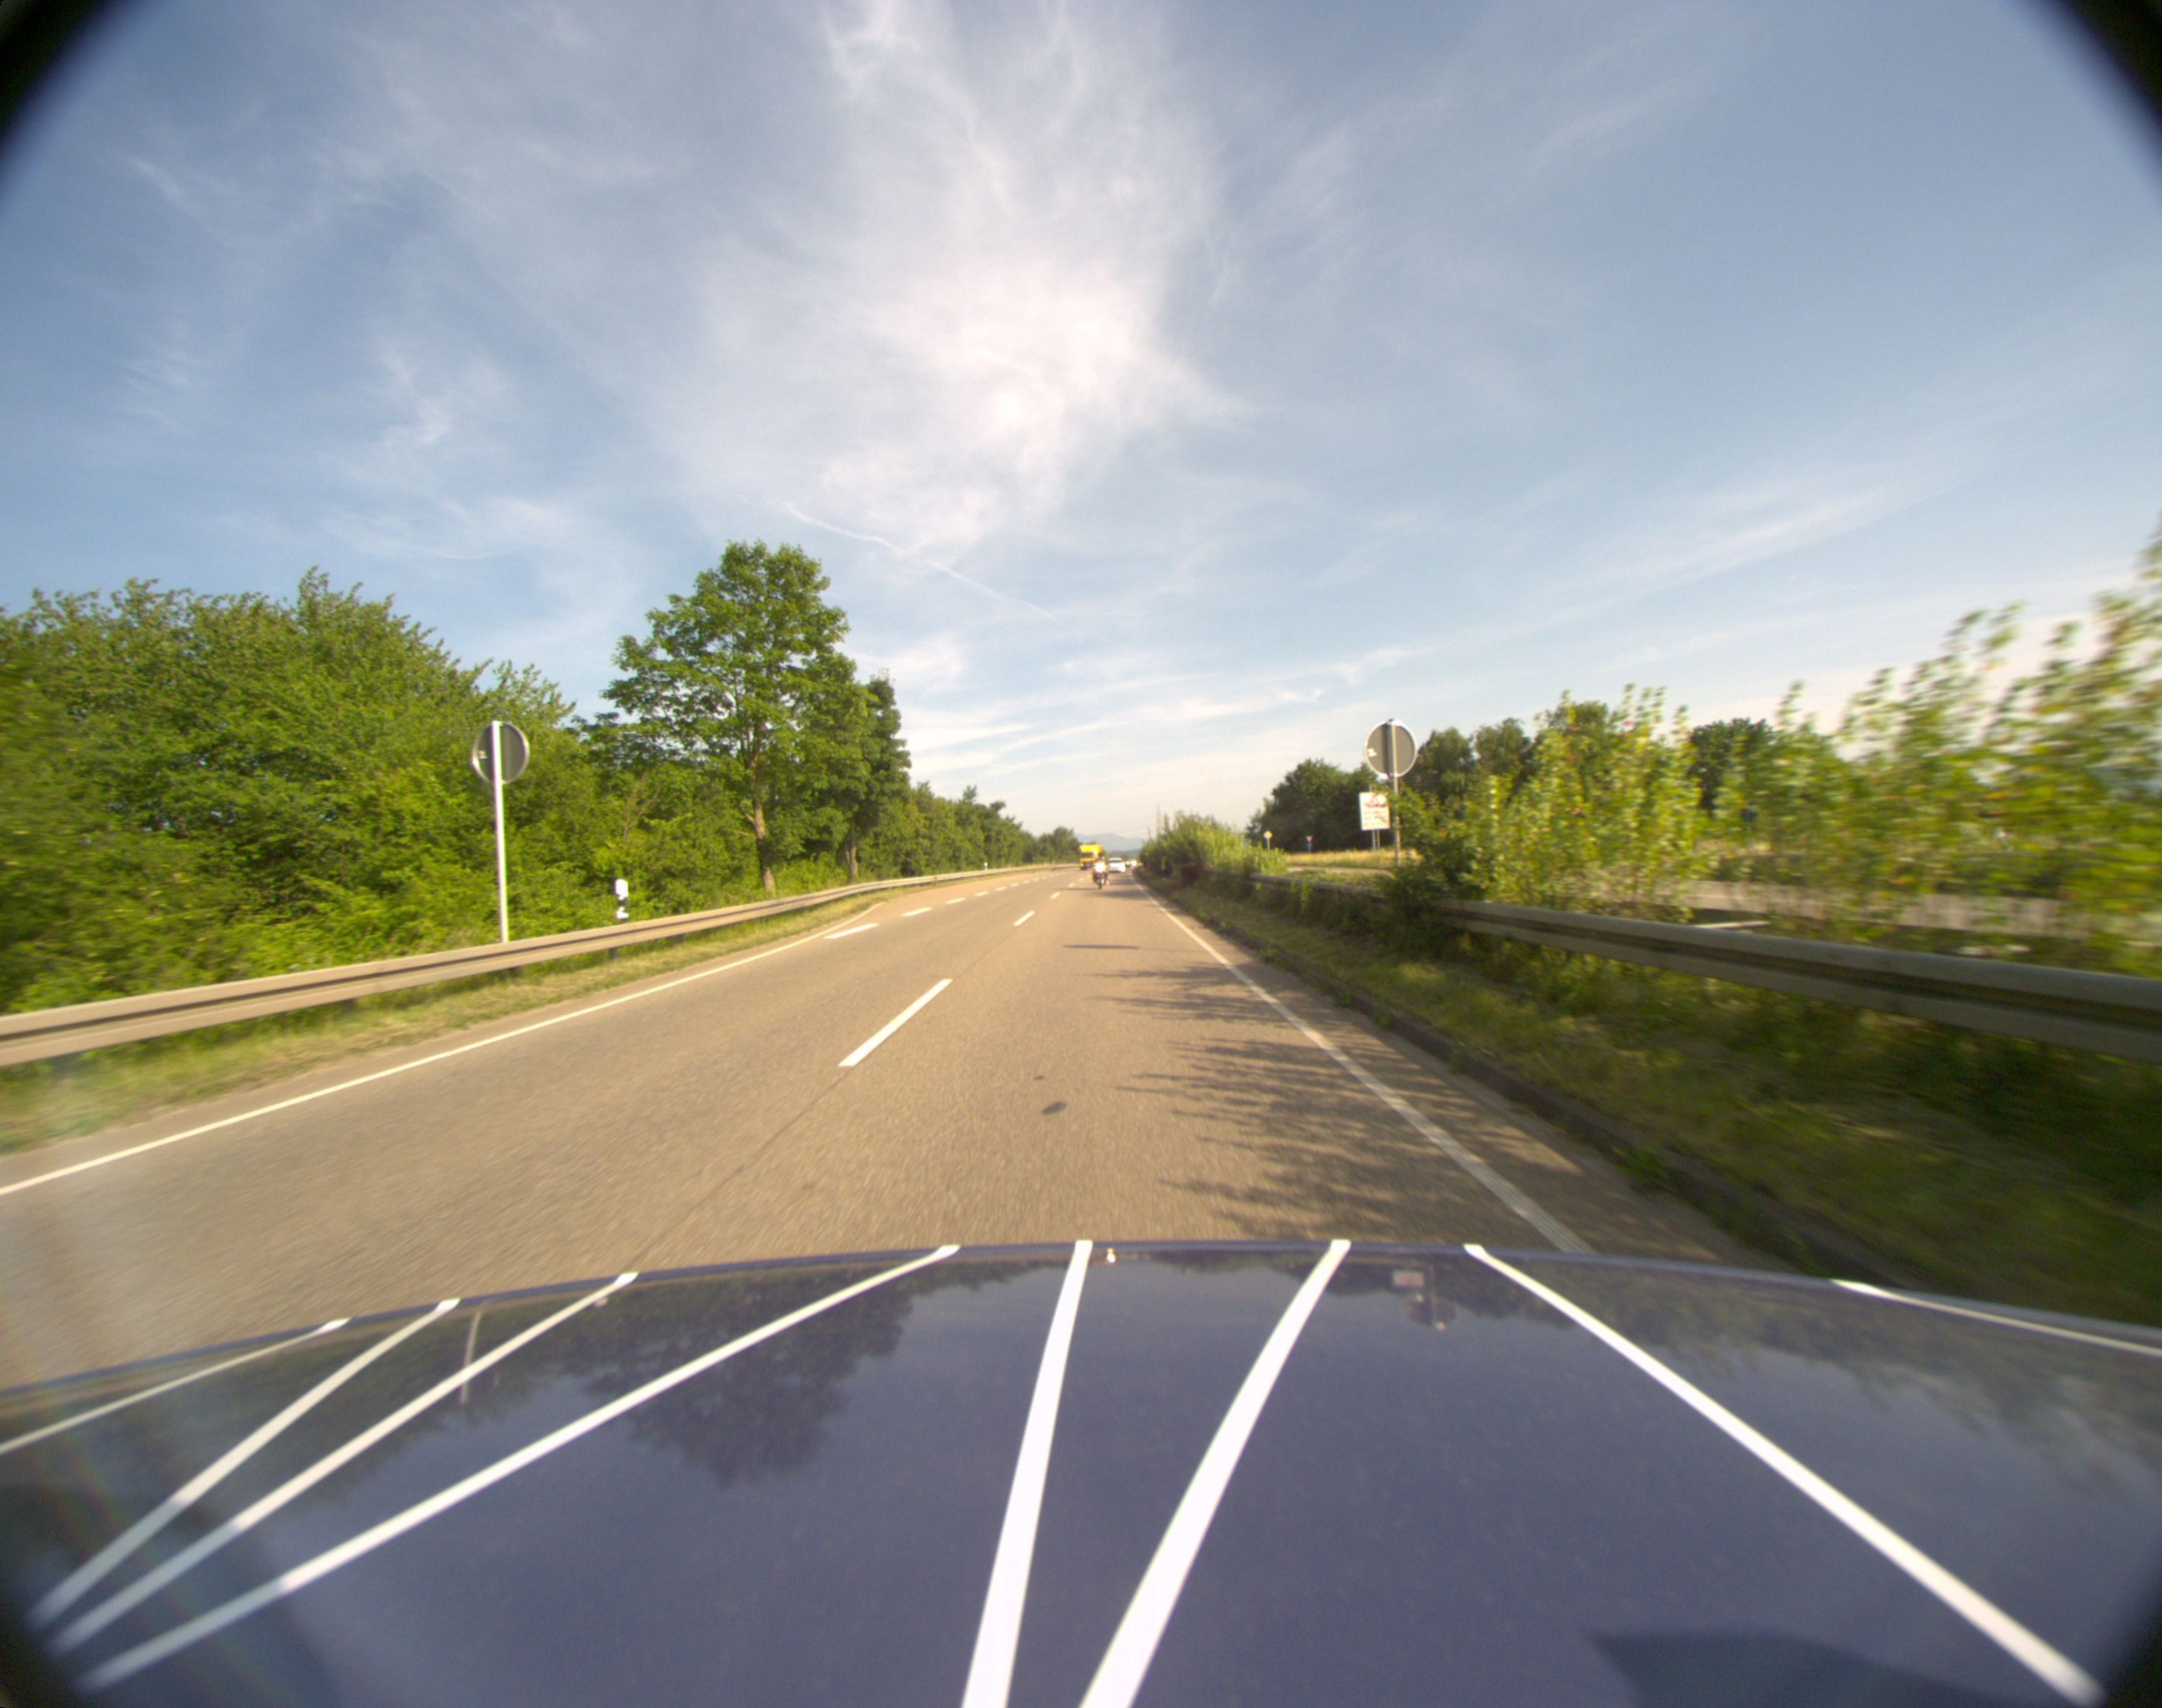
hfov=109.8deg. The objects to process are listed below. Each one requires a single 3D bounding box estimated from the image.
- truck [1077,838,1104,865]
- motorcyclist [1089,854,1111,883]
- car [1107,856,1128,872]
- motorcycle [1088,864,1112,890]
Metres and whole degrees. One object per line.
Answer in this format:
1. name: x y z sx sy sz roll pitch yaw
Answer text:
1. truck: 1.384 -0.280 103.219 2.785 3.297 10.495 -2 -1 5
2. motorcyclist: 0.896 0.671 36.060 0.936 1.344 1.143 -2 0 5
3. car: 3.507 0.915 72.593 1.869 1.454 4.085 -2 0 4
4. motorcycle: 0.914 1.065 36.014 0.936 1.131 2.583 -2 0 5
